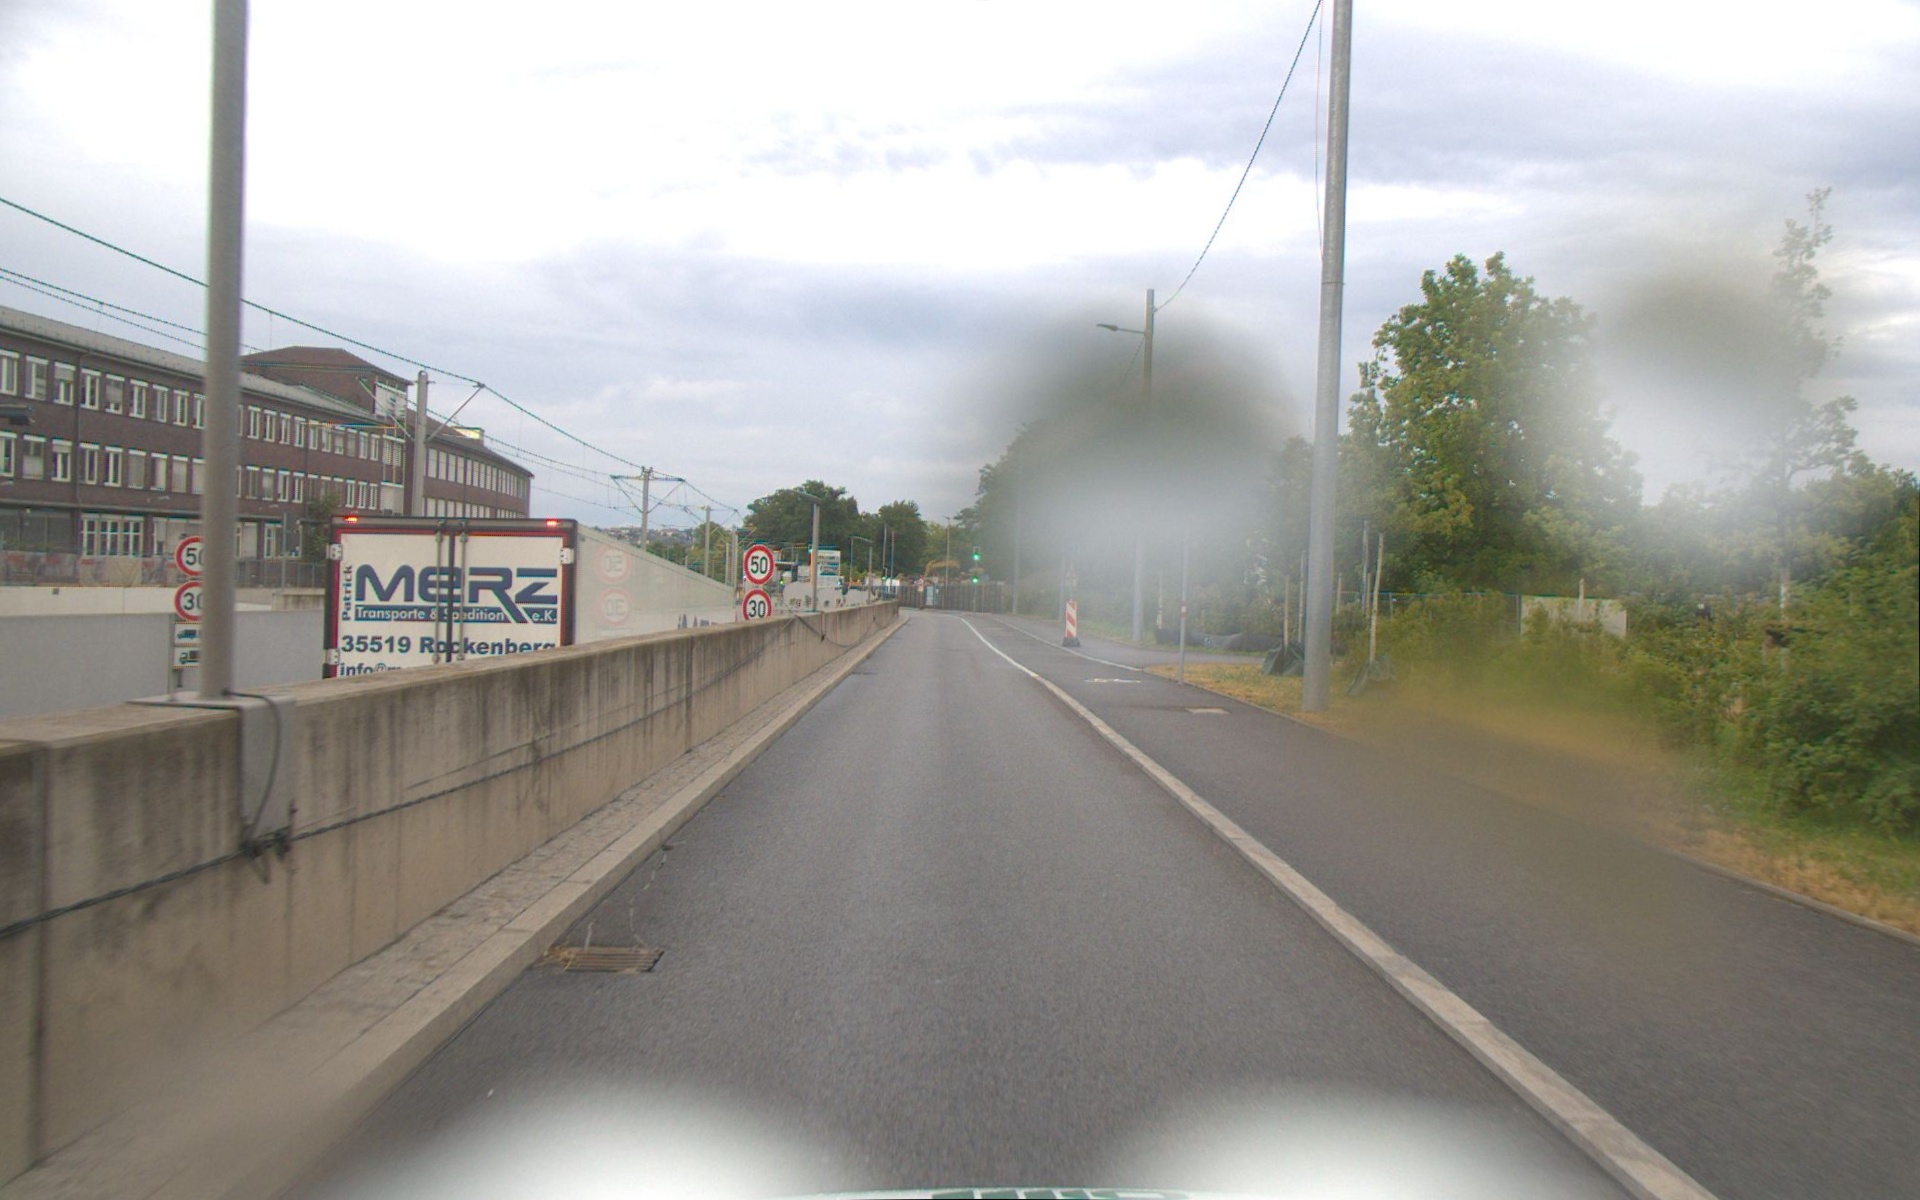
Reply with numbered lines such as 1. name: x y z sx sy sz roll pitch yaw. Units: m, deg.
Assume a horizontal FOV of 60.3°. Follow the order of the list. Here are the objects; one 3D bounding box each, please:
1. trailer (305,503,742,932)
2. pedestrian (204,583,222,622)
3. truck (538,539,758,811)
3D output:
1. trailer: -5.282 1.163 23.319 2.706 4.327 13.182 0 0 0
2. pedestrian: -40.179 0.133 88.963 0.657 2.049 0.652 1 -1 -3
3. truck: -5.307 1.174 29.249 2.700 4.278 6.306 0 0 0
